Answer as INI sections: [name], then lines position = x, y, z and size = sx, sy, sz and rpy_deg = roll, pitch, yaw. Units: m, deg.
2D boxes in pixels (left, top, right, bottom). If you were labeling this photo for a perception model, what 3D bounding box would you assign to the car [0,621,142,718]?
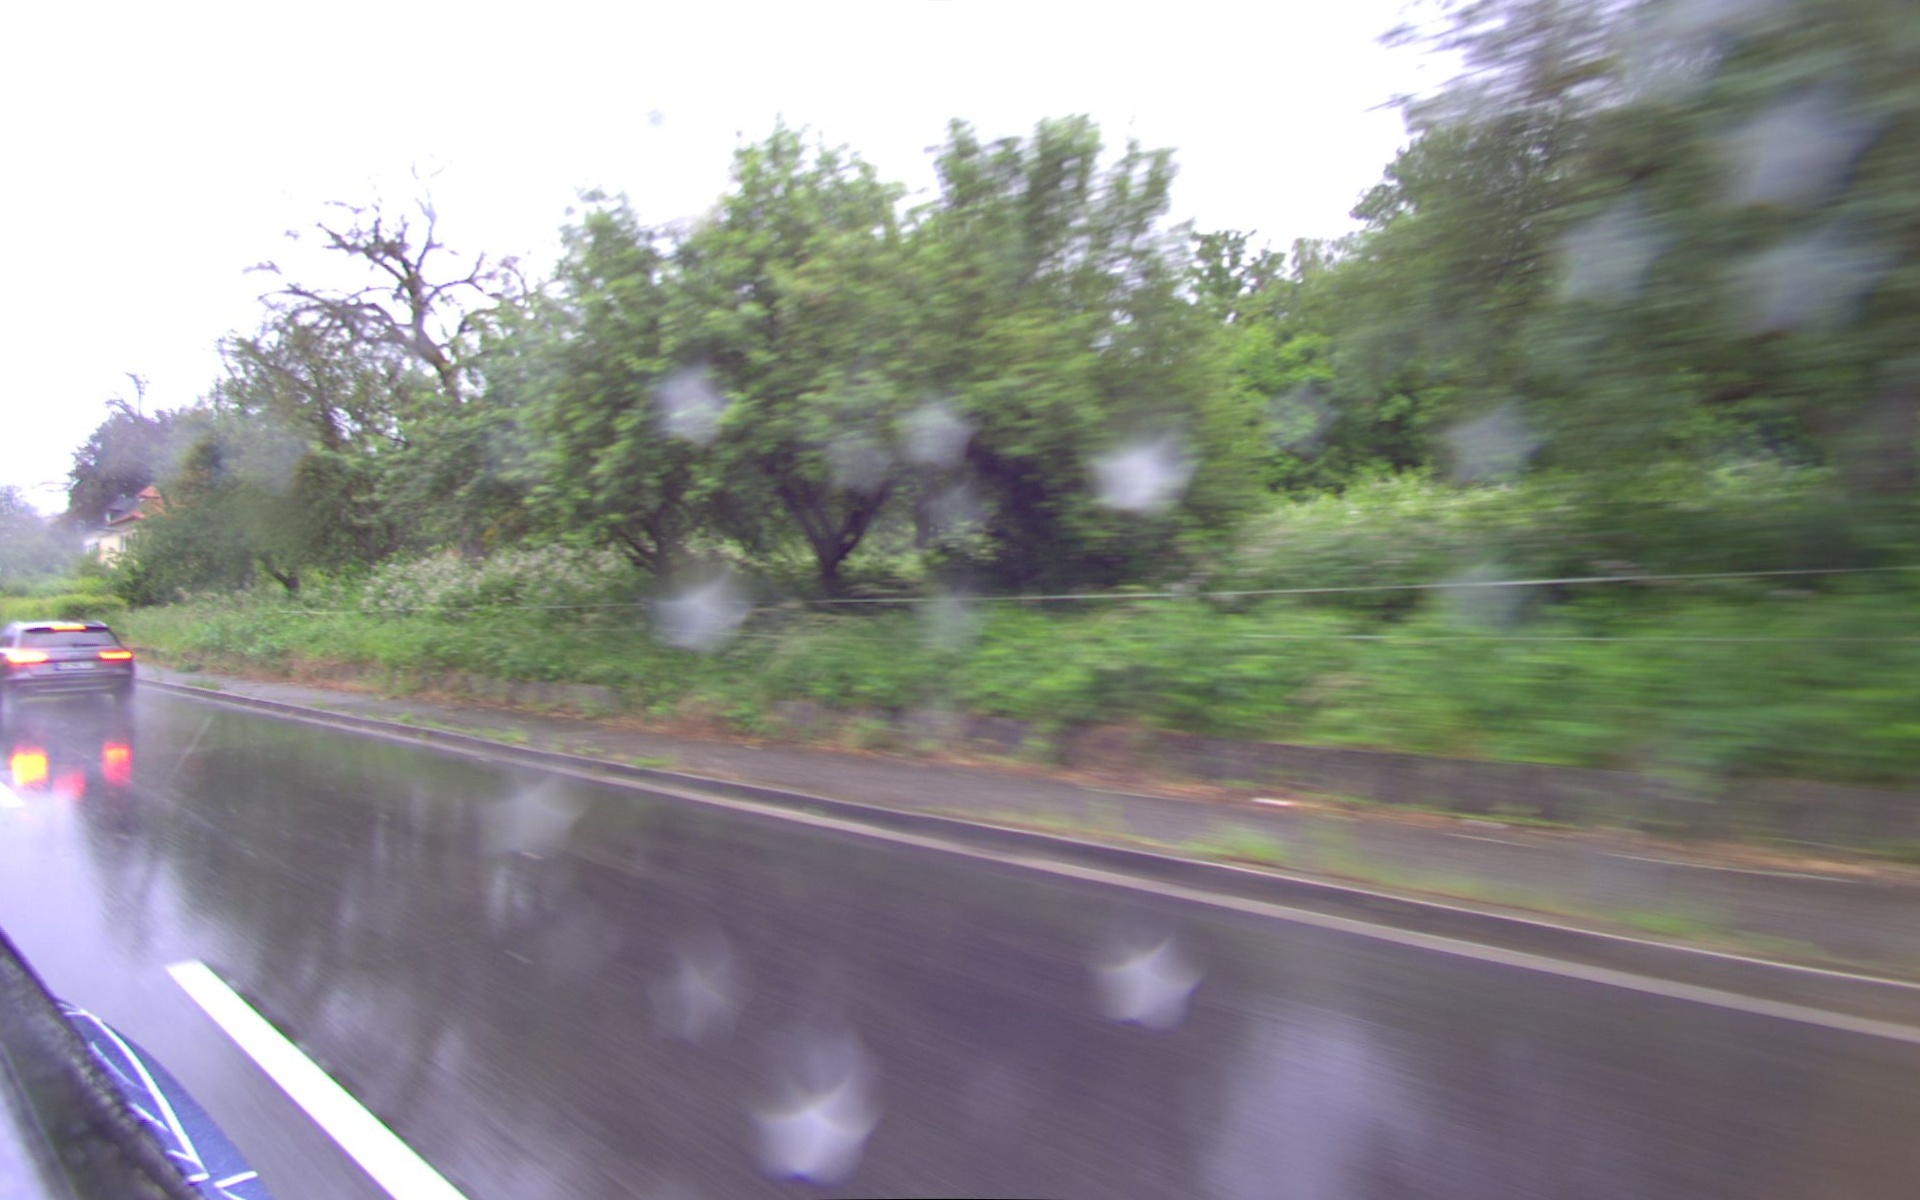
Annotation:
[car]
position = -16.124, 1.161, 17.830
size = 4.426, 1.465, 1.973
rpy_deg = -2, -1, 42
